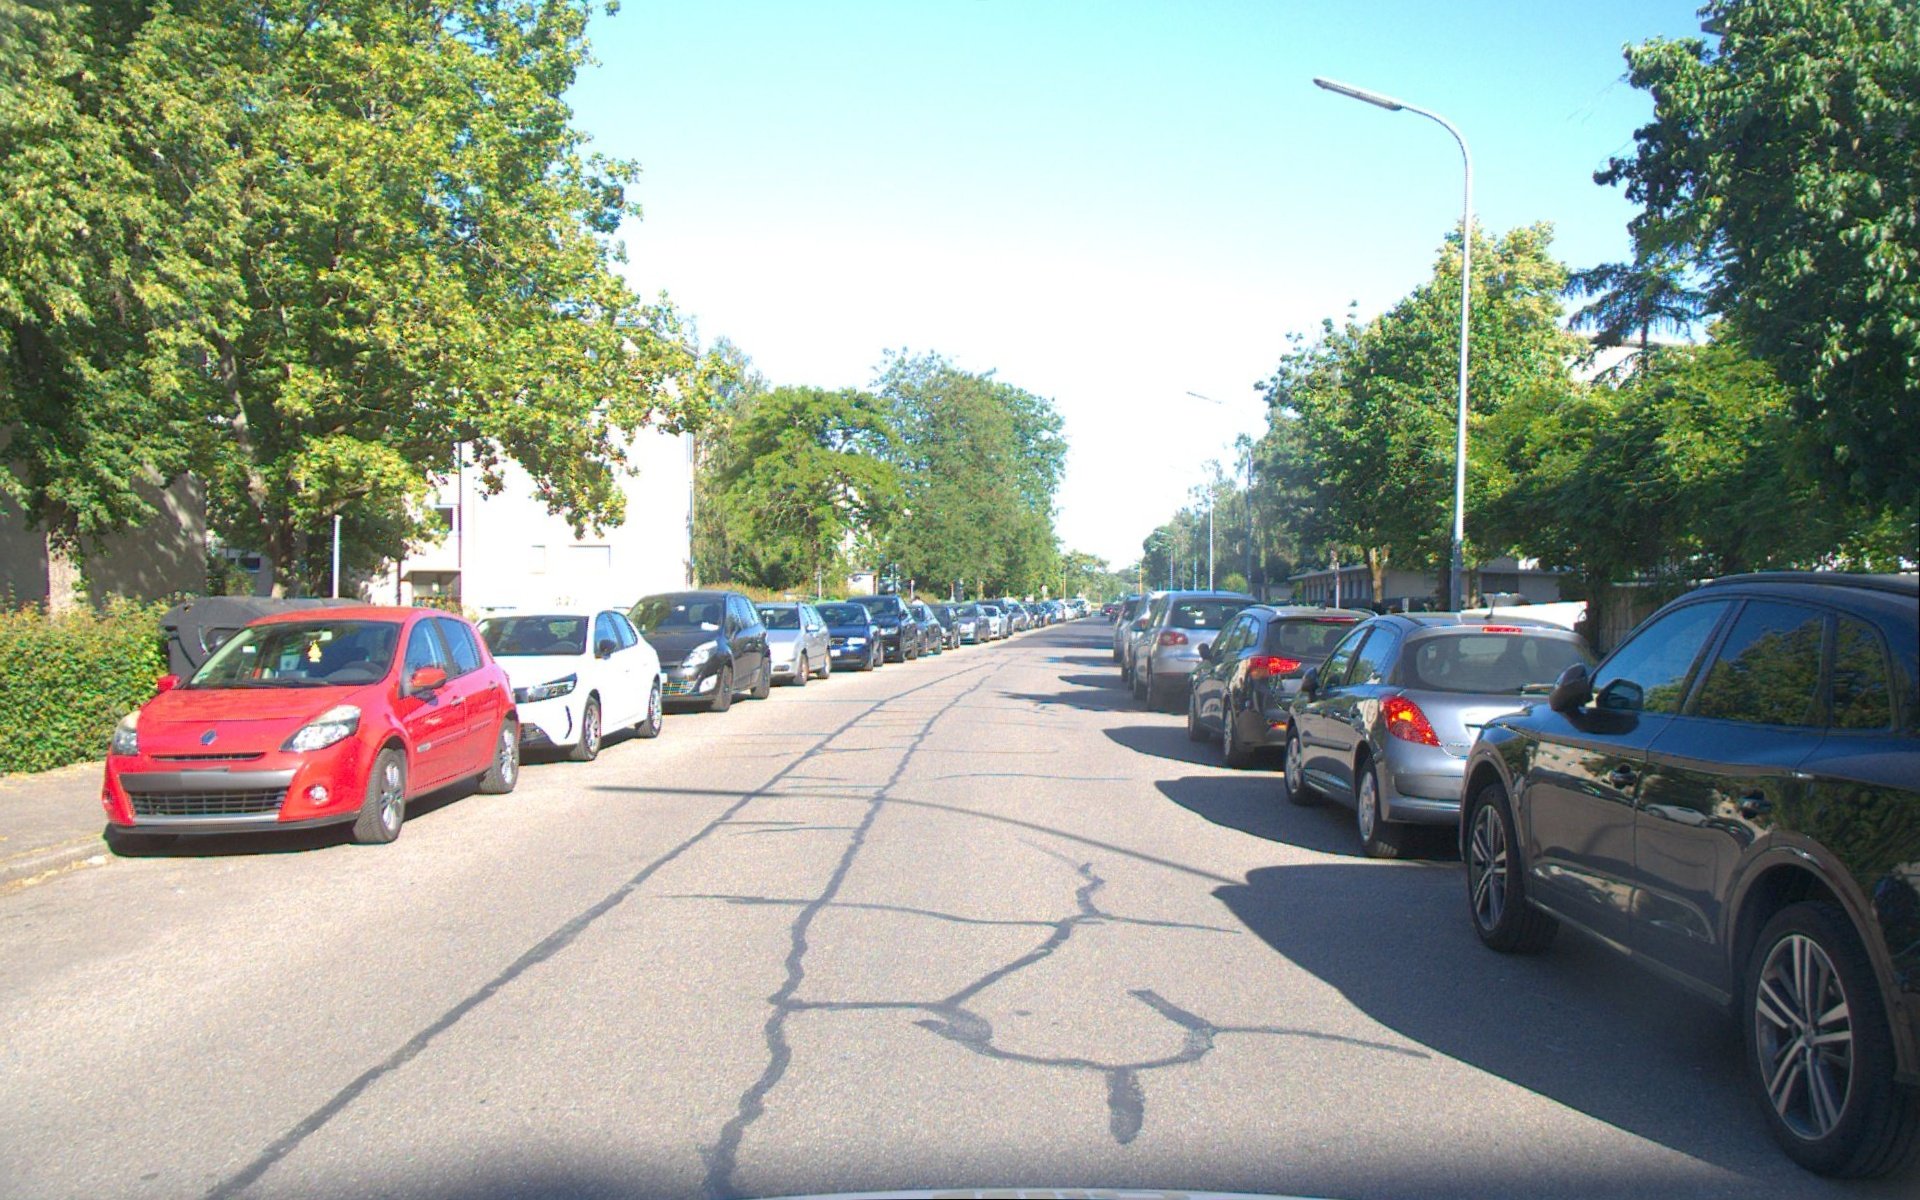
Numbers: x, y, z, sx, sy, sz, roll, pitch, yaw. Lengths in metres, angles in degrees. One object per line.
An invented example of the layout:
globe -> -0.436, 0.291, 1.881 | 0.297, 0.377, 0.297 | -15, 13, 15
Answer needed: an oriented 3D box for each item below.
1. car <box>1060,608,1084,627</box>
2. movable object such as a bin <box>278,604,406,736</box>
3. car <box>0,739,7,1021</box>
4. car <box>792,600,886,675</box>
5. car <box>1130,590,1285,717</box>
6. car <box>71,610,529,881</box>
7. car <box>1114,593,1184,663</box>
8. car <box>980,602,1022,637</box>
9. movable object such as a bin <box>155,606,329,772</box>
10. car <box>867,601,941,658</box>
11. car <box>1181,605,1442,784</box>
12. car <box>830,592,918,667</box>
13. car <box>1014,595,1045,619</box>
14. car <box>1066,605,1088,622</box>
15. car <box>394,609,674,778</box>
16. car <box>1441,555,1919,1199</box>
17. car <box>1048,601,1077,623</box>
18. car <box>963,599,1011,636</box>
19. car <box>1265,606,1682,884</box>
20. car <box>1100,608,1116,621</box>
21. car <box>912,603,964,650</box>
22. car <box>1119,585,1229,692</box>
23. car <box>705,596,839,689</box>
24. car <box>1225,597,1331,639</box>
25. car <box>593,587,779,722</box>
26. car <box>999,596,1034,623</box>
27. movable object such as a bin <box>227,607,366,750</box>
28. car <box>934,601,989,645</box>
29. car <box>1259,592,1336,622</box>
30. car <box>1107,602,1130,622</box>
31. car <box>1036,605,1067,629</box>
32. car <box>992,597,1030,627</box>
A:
car -> 10.026, 1.524, 148.017 | 1.785, 1.491, 4.237 | 1, 1, 8
movable object such as a bin -> -7.145, 0.786, 19.184 | 0.967, 1.443, 1.315 | 0, 1, 1
car -> -4.474, 0.868, 4.444 | 1.636, 1.500, 3.678 | -2, 0, 0
car -> -2.548, 0.772, 35.680 | 1.626, 1.451, 4.049 | -2, 0, 1
car -> 3.483, 0.700, 23.921 | 1.694, 1.647, 4.234 | 1, 0, 2
car -> -4.324, 0.858, 11.472 | 1.636, 1.500, 3.678 | -2, 0, 0
car -> 4.809, 0.671, 42.373 | 1.661, 1.670, 4.236 | 1, 0, 6
car -> 1.881, 0.870, 75.191 | 1.477, 1.459, 3.470 | -2, 0, 8
movable object such as a bin -> -6.999, 0.834, 16.204 | 1.088, 1.524, 1.408 | 0, 1, -1
car -> -1.522, 0.797, 46.416 | 1.625, 1.464, 3.762 | -2, 0, 4
car -> 3.338, 0.829, 16.505 | 1.647, 1.482, 4.291 | 2, 0, 0
car -> -2.083, 0.690, 41.286 | 1.625, 1.718, 4.051 | -2, 0, 4
car -> 4.144, 0.405, 98.280 | 1.477, 1.352, 3.470 | -2, 0, 8
car -> 11.106, 1.284, 156.587 | 1.785, 1.491, 4.237 | 1, 1, 8
car -> -4.170, 0.857, 16.813 | 1.635, 1.446, 3.903 | -1, 0, 3
car -> 3.267, 0.748, 5.904 | 1.773, 1.693, 4.462 | 1, 0, 0
car -> 7.785, 0.926, 125.363 | 1.785, 1.491, 4.237 | 1, 1, 8
car -> 1.137, 0.696, 67.501 | 1.477, 1.388, 3.470 | -2, 0, 8
car -> 3.281, 0.836, 11.344 | 1.650, 1.513, 3.824 | 2, 0, 0
car -> 17.760, 1.717, 198.624 | 1.903, 1.312, 4.237 | 1, 1, 5
car -> -0.711, 0.855, 54.321 | 1.360, 1.438, 3.127 | -2, 0, 5
car -> 3.726, 0.631, 29.341 | 1.618, 1.728, 4.235 | 1, 0, 3
car -> -3.330, 0.709, 29.966 | 1.625, 1.512, 4.055 | -2, 0, 4
car -> 12.901, 0.723, 67.276 | 4.130, 1.621, 1.831 | 1, 0, 7
car -> -3.781, 0.695, 23.590 | 1.635, 1.696, 4.408 | -2, 0, 3
car -> 3.058, 0.481, 89.500 | 1.477, 1.352, 3.470 | -2, 0, 8
movable object such as a bin -> -7.133, 0.818, 17.846 | 0.968, 1.443, 1.314 | 0, 1, -1
car -> 0.075, 0.827, 61.241 | 1.477, 1.476, 3.694 | -2, 0, 8
car -> 18.950, 0.416, 93.026 | 4.130, 1.557, 1.831 | 1, -3, 7
car -> 12.408, 0.919, 129.622 | 1.785, 1.348, 4.237 | 1, 1, 5
car -> 6.385, 1.181, 115.295 | 1.785, 1.491, 4.237 | 1, 1, 8
car -> 2.594, 0.612, 83.499 | 1.477, 1.405, 3.470 | -2, 0, 8
